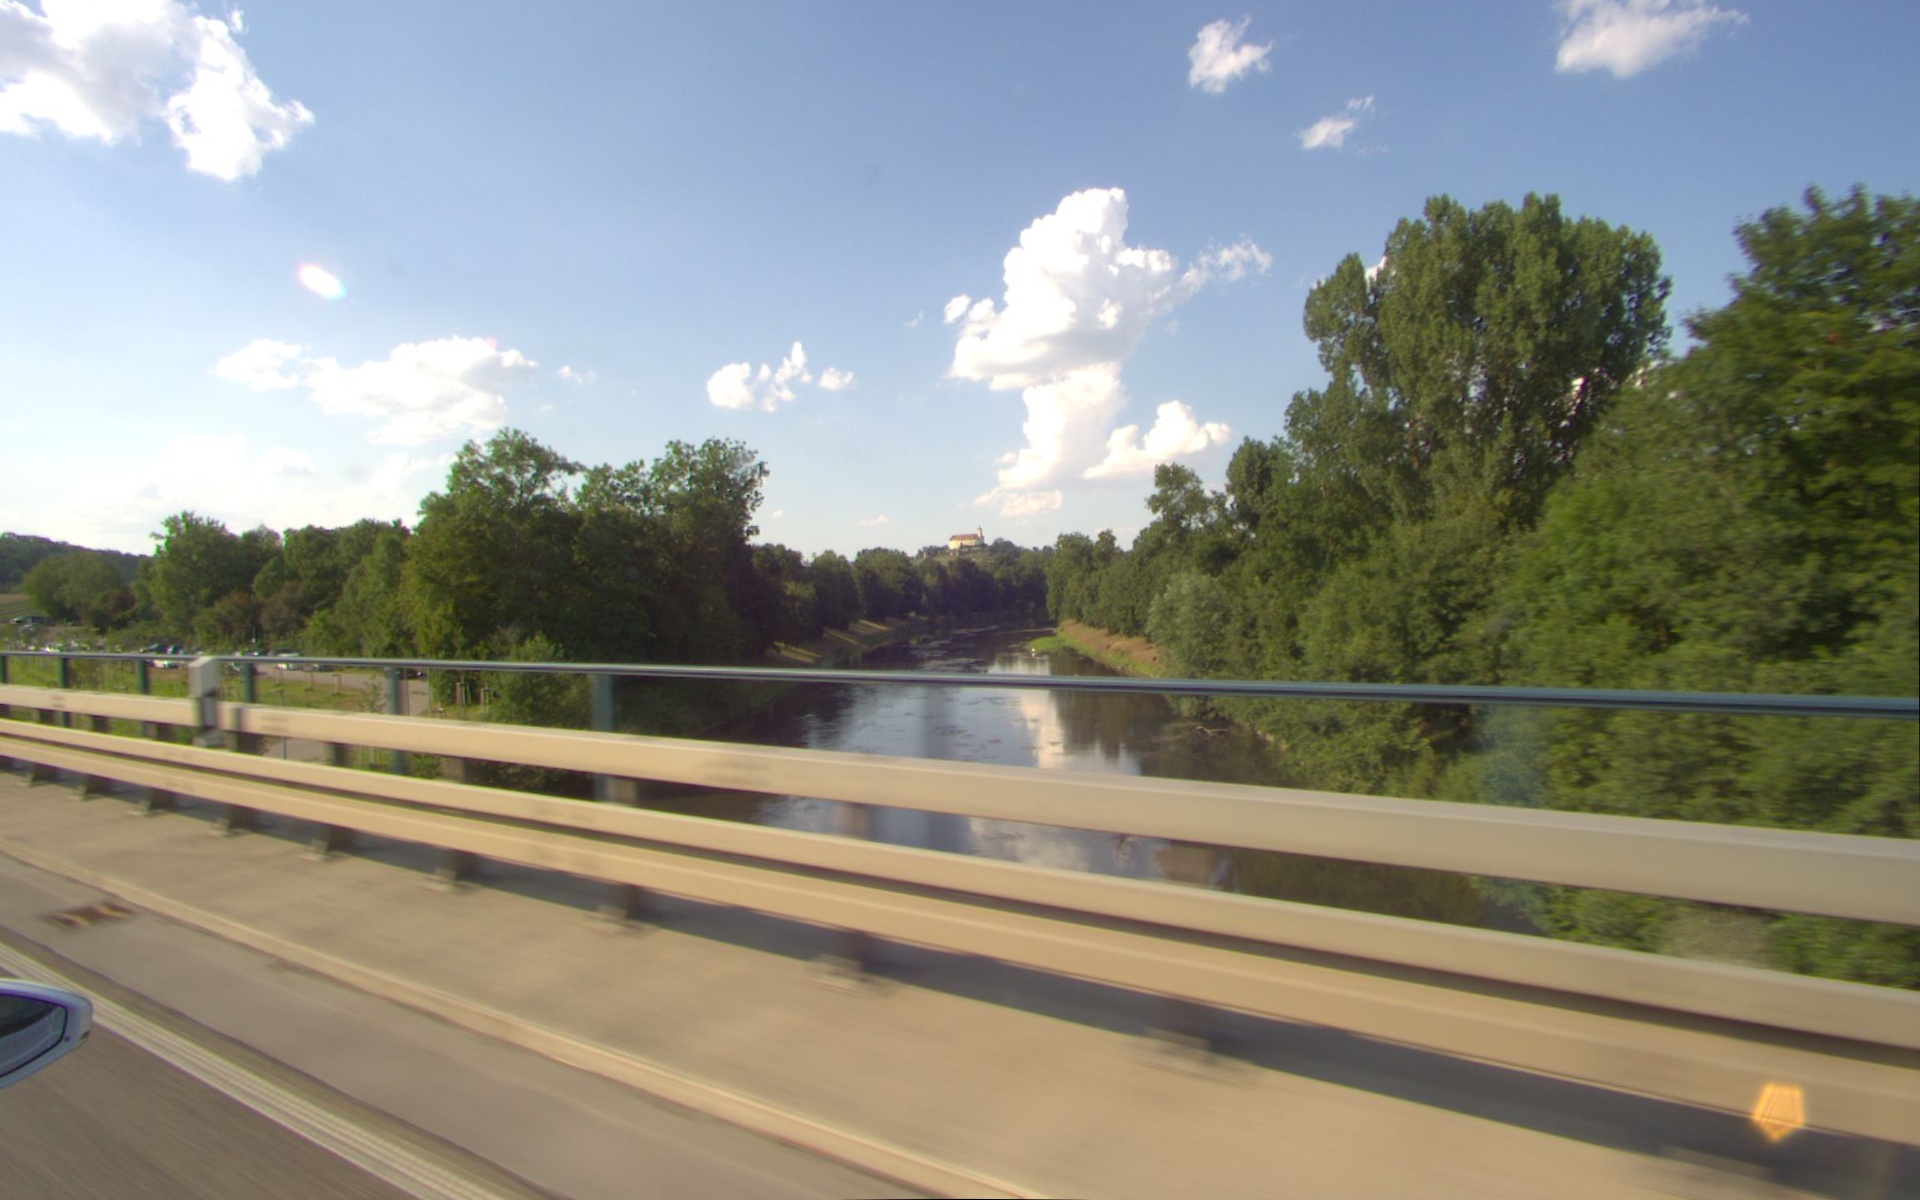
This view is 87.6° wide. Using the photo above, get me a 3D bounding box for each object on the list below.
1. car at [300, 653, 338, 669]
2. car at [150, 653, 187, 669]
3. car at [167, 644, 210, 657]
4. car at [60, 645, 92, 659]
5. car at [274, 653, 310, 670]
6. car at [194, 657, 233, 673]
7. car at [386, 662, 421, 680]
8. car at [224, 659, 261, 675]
[{"bbox_3d":[-67.666,6.446,105.685,4.162,1.516,1.652,-1,-1,31],"label":"car"},{"bbox_3d":[-89.965,6.891,113.768,4.191,1.502,1.815,1,2,29],"label":"car"},{"bbox_3d":[-104.772,6.841,136.021,1.807,1.625,4.226,0,-2,32],"label":"car"},{"bbox_3d":[-115.920,6.821,131.275,4.715,1.503,1.886,1,3,33],"label":"car"},{"bbox_3d":[-72.868,6.682,109.179,4.644,1.688,1.650,-1,-1,34],"label":"car"},{"bbox_3d":[-80.127,6.959,107.461,4.191,1.420,1.815,1,2,29],"label":"car"},{"bbox_3d":[-52.946,6.725,95.227,3.785,1.516,1.647,-1,-1,40],"label":"car"},{"bbox_3d":[-74.615,6.973,104.082,4.162,1.516,1.652,-1,-1,31],"label":"car"}]
